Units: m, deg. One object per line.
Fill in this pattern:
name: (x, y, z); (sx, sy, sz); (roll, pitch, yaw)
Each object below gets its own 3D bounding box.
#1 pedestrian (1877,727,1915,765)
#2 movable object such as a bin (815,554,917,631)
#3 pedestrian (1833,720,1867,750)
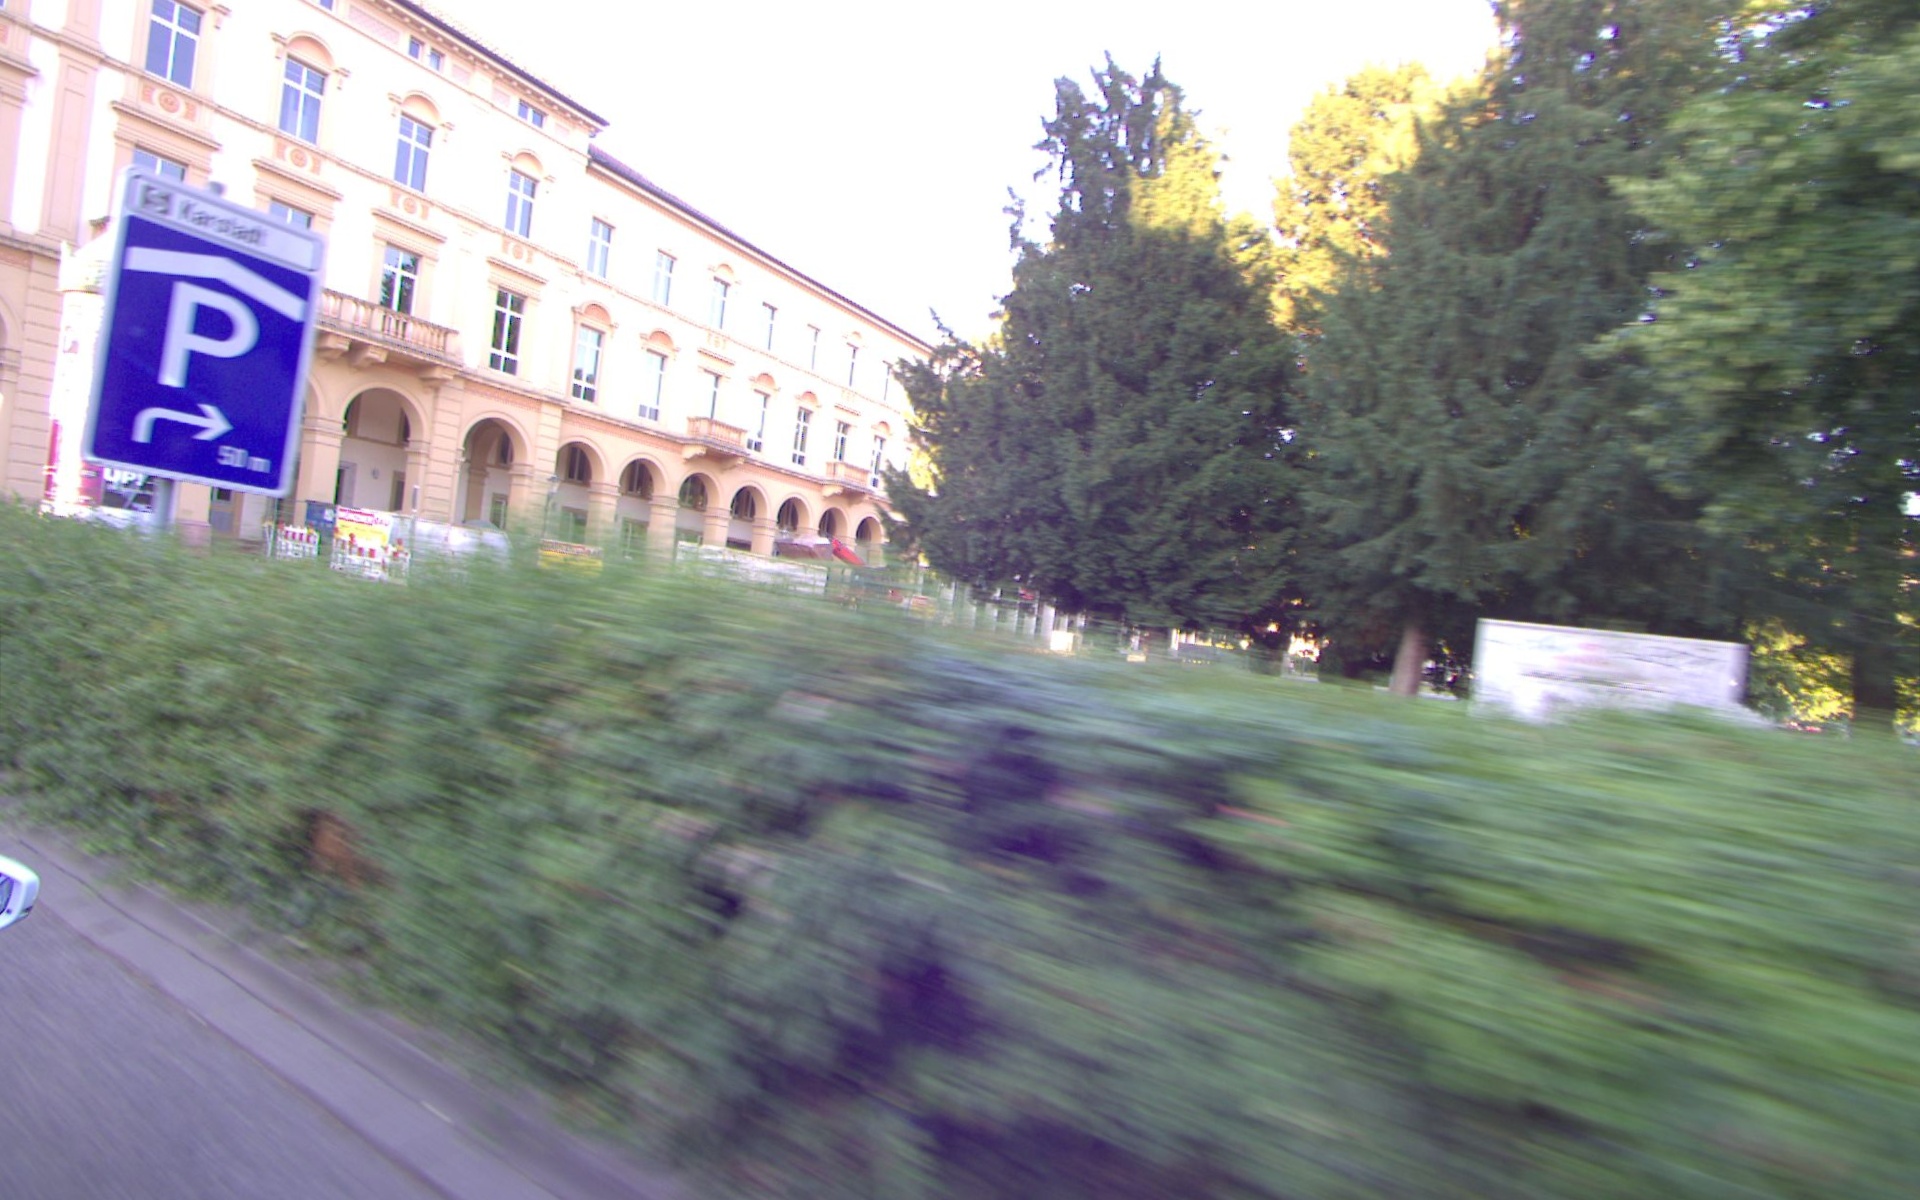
pedestrian: (34.334, 5.337, 36.902); (0.653, 1.215, 1.103); (7, 0, 29)
movable object such as a bin: (-4.369, -0.294, 47.427); (1.967, 3.045, 4.893); (7, 0, 32)
pedestrian: (47.576, 7.218, 53.781); (1.134, 1.387, 0.831); (8, 1, -22)
